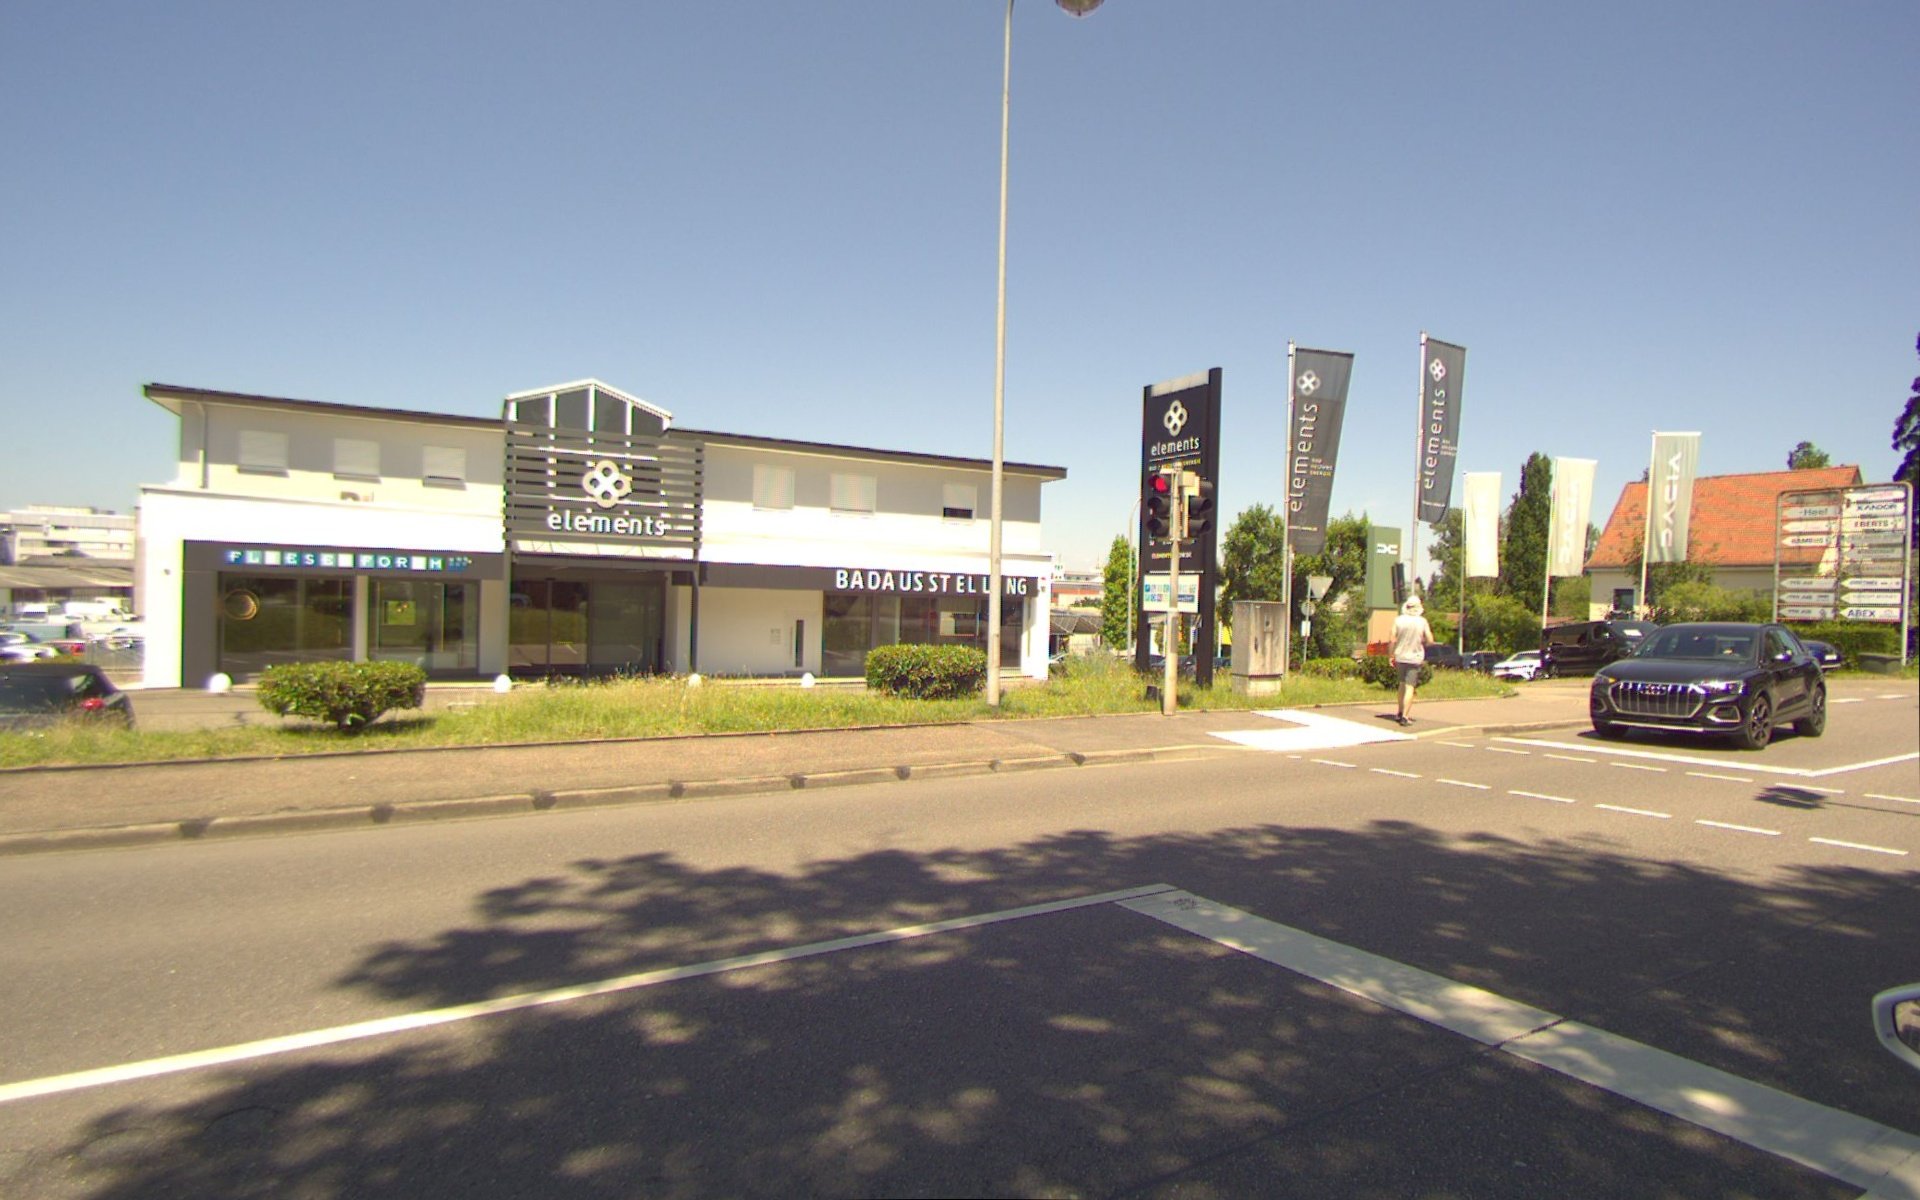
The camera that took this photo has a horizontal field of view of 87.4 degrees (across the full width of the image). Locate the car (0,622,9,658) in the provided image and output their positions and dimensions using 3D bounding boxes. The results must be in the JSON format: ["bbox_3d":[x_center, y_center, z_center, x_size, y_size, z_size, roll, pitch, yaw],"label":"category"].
[{"bbox_3d":[-49.208,1.934,48.963,3.726,1.778,1.719,2,-1,-28],"label":"car"}]

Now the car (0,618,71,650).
[{"bbox_3d":[-53.317,1.934,57.167,3.726,1.778,1.719,2,-1,-28],"label":"car"}]

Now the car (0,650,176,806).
[{"bbox_3d":[-11.720,1.504,12.809,1.746,1.553,4.076,1,-1,-24],"label":"car"}]

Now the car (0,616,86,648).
[{"bbox_3d":[-54.758,1.907,59.799,3.726,1.778,1.719,2,-1,-28],"label":"car"}]

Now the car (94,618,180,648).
[{"bbox_3d":[-50.639,2.044,61.888,3.726,1.778,1.719,2,-1,-28],"label":"car"}]

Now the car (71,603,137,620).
[{"bbox_3d":[-95.717,1.303,112.444,5.236,1.778,2.051,2,-1,-28],"label":"car"}]

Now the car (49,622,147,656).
[{"bbox_3d":[-47.161,2.118,55.061,3.726,1.778,1.719,2,-1,-28],"label":"car"}]

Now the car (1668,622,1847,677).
[{"bbox_3d":[25.001,1.515,31.666,1.751,1.524,4.129,1,-1,-20],"label":"car"}]

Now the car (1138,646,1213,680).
[{"bbox_3d":[10.807,3.126,50.252,3.973,1.506,1.735,2,-1,-44],"label":"car"}]

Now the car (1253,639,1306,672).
[{"bbox_3d":[18.756,3.213,58.878,1.785,1.744,4.075,2,0,36],"label":"car"}]

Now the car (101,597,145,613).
[{"bbox_3d":[-99.756,0.614,119.772,3.726,1.778,1.719,2,-1,-28],"label":"car"}]

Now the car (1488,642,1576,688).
[{"bbox_3d":[23.994,2.684,42.088,4.053,1.744,1.795,2,0,-38],"label":"car"}]

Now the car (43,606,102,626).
[{"bbox_3d":[-83.138,1.526,94.154,3.725,1.778,1.720,1,-1,-27],"label":"car"}]

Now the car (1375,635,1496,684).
[{"bbox_3d":[18.369,2.288,38.828,4.022,1.745,1.808,2,1,-16],"label":"car"}]

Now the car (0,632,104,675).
[{"bbox_3d":[-39.521,2.293,43.258,3.726,1.778,1.719,2,-1,-28],"label":"car"}]

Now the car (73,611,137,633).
[{"bbox_3d":[-71.032,1.830,83.483,3.726,1.778,1.719,2,0,-28],"label":"car"}]

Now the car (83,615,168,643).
[{"bbox_3d":[-55.307,1.921,66.649,4.004,1.778,1.719,2,-1,-28],"label":"car"}]

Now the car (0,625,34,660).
[{"bbox_3d":[-51.434,2.205,52.785,3.726,1.778,1.719,2,-1,-28],"label":"car"}]

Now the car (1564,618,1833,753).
[{"bbox_3d":[10.435,1.091,14.095,4.263,1.576,1.912,2,-1,-37],"label":"car"}]

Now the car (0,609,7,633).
[{"bbox_3d":[-74.811,1.558,75.828,3.726,1.778,1.719,2,0,-28],"label":"car"}]

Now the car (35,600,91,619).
[{"bbox_3d":[-88.191,0.985,98.766,3.726,1.778,1.719,1,-1,-28],"label":"car"}]

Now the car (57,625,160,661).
[{"bbox_3d":[-43.731,2.205,51.695,3.726,1.778,1.719,2,-1,-28],"label":"car"}]

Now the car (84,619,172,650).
[{"bbox_3d":[-49.387,2.071,59.702,3.726,1.778,1.719,2,-1,-28],"label":"car"}]

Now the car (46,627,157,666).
[{"bbox_3d":[-41.206,2.242,48.322,3.726,1.778,1.719,2,-1,-28],"label":"car"}]

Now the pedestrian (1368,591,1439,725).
[{"bbox_3d":[6.069,0.781,13.764,0.689,1.785,0.545,1,0,-4],"label":"pedestrian"}]

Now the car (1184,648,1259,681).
[{"bbox_3d":[12.419,3.021,47.579,3.839,1.434,1.632,2,-1,-42],"label":"car"}]
